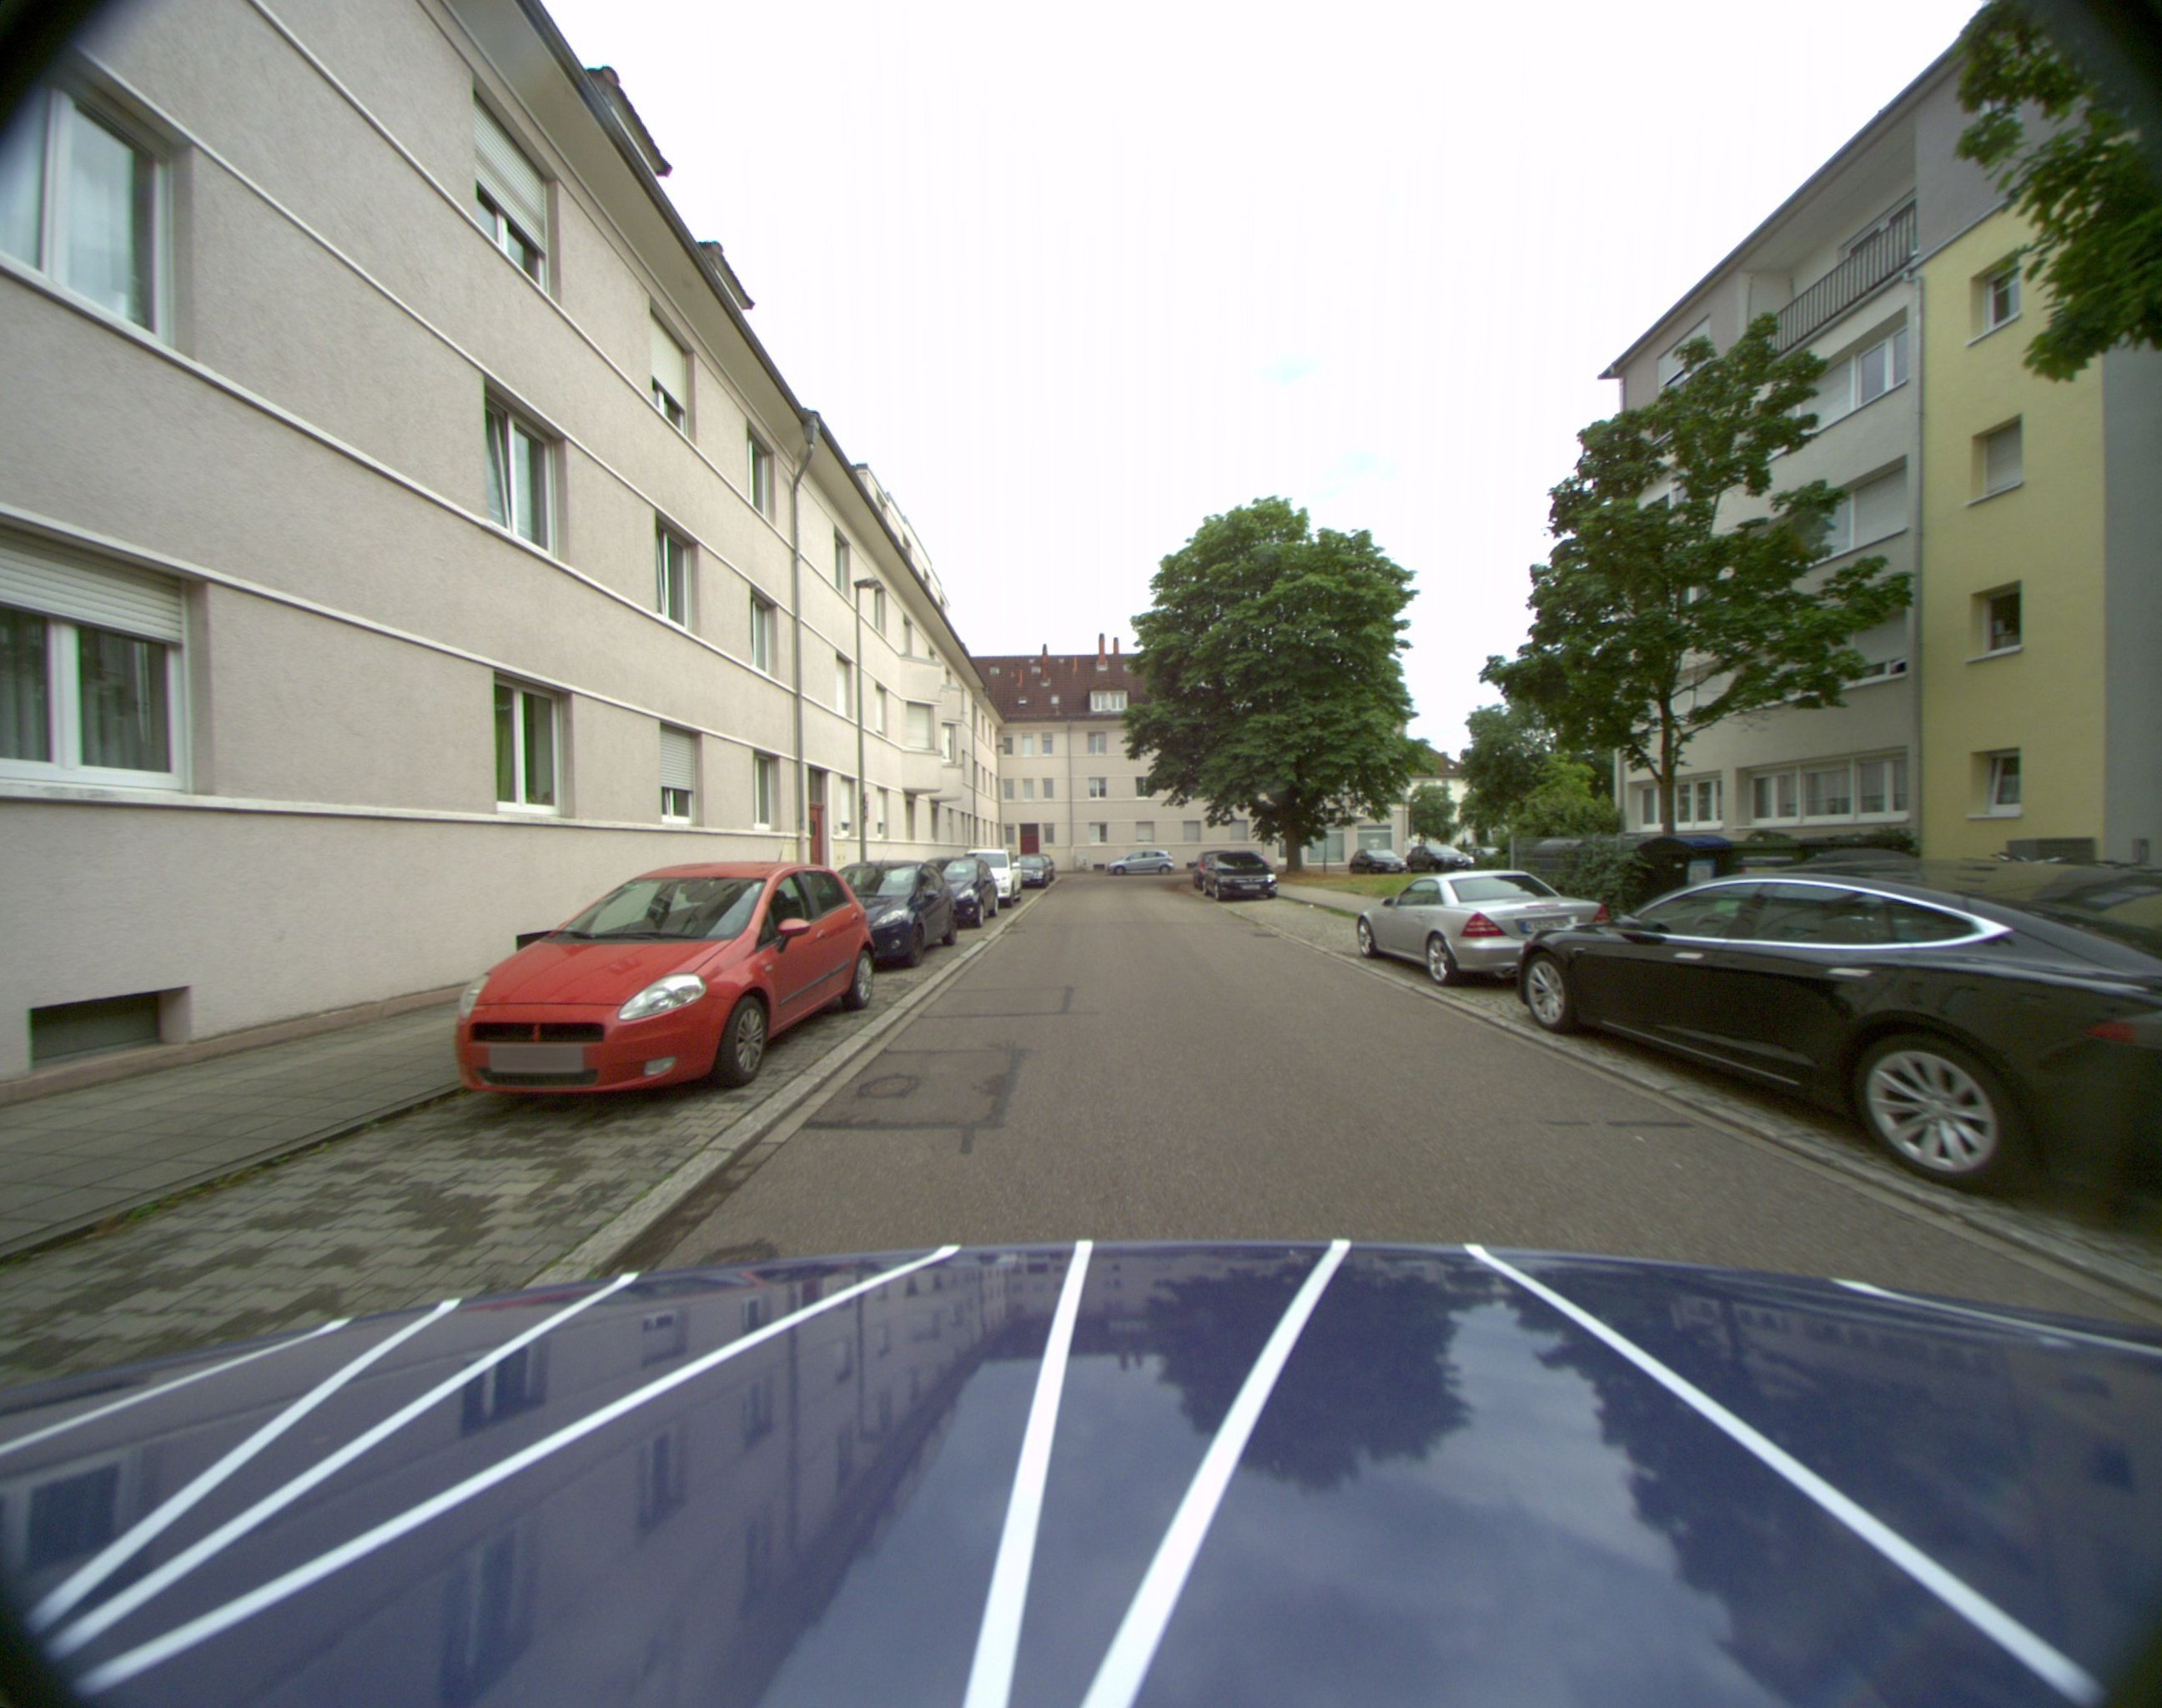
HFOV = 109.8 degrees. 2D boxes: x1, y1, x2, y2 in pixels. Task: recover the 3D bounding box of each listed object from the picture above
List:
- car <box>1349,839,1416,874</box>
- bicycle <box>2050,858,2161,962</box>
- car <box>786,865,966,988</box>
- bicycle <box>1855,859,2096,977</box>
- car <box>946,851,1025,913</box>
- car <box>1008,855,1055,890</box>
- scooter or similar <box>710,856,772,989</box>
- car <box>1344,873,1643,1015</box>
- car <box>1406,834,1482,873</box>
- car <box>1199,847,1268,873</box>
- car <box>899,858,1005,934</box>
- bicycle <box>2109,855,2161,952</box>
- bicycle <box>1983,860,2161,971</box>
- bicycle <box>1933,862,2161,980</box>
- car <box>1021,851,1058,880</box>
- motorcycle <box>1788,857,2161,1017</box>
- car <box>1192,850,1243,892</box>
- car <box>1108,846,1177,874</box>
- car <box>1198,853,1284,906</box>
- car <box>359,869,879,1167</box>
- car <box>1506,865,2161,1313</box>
[{"bbox_3d":[14.151,0.101,35.836,1.829,1.568,3.843,-1,1,4],"label":"car"},{"bbox_3d":[11.973,0.614,8.295,0.553,1.094,1.774,-1,1,2],"label":"bicycle"},{"bbox_3d":[-2.861,0.932,11.395,1.571,1.465,3.696,0,0,2],"label":"car"},{"bbox_3d":[9.522,0.624,8.204,0.553,1.094,1.774,-1,1,2],"label":"bicycle"},{"bbox_3d":[-2.702,0.752,22.503,1.847,1.664,4.289,0,0,-1],"label":"car"},{"bbox_3d":[-2.097,0.755,33.602,1.749,1.412,4.949,0,0,0],"label":"car"},{"bbox_3d":[-5.307,1.048,11.873,0.345,2.002,0.680,-3,1,40],"label":"scooter or similar"},{"bbox_3d":[4.921,0.979,9.803,1.701,1.251,4.015,-3,0,1],"label":"car"},{"bbox_3d":[17.134,0.014,36.049,1.914,1.687,4.070,-1,-1,5],"label":"car"},{"bbox_3d":[9.564,0.386,47.863,3.933,1.481,1.762,-2,0,1],"label":"car"},{"bbox_3d":[-2.770,0.852,17.114,1.571,1.470,3.871,-1,0,2],"label":"car"},{"bbox_3d":[12.552,0.569,8.198,0.553,1.094,1.774,-1,1,2],"label":"bicycle"},{"bbox_3d":[11.345,0.635,8.451,0.553,1.094,1.774,-1,1,2],"label":"bicycle"},{"bbox_3d":[10.497,0.660,8.245,0.553,1.094,1.774,-1,1,2],"label":"bicycle"},{"bbox_3d":[-2.194,0.588,40.733,1.761,1.516,4.079,0,0,0],"label":"car"},{"bbox_3d":[8.745,0.668,7.560,0.682,1.216,3.067,-2,0,3],"label":"motorcycle"},{"bbox_3d":[5.349,0.632,30.067,1.528,1.485,3.592,-4,0,4],"label":"car"},{"bbox_3d":[3.844,0.382,47.886,4.195,1.618,1.763,-2,0,4],"label":"car"},{"bbox_3d":[5.099,0.745,24.902,1.872,1.456,4.834,-4,0,2],"label":"car"},{"bbox_3d":[-3.002,0.919,6.008,1.700,1.516,3.826,0,0,1],"label":"car"},{"bbox_3d":[4.758,0.865,4.567,1.846,1.413,4.629,-3,0,1],"label":"car"}]
